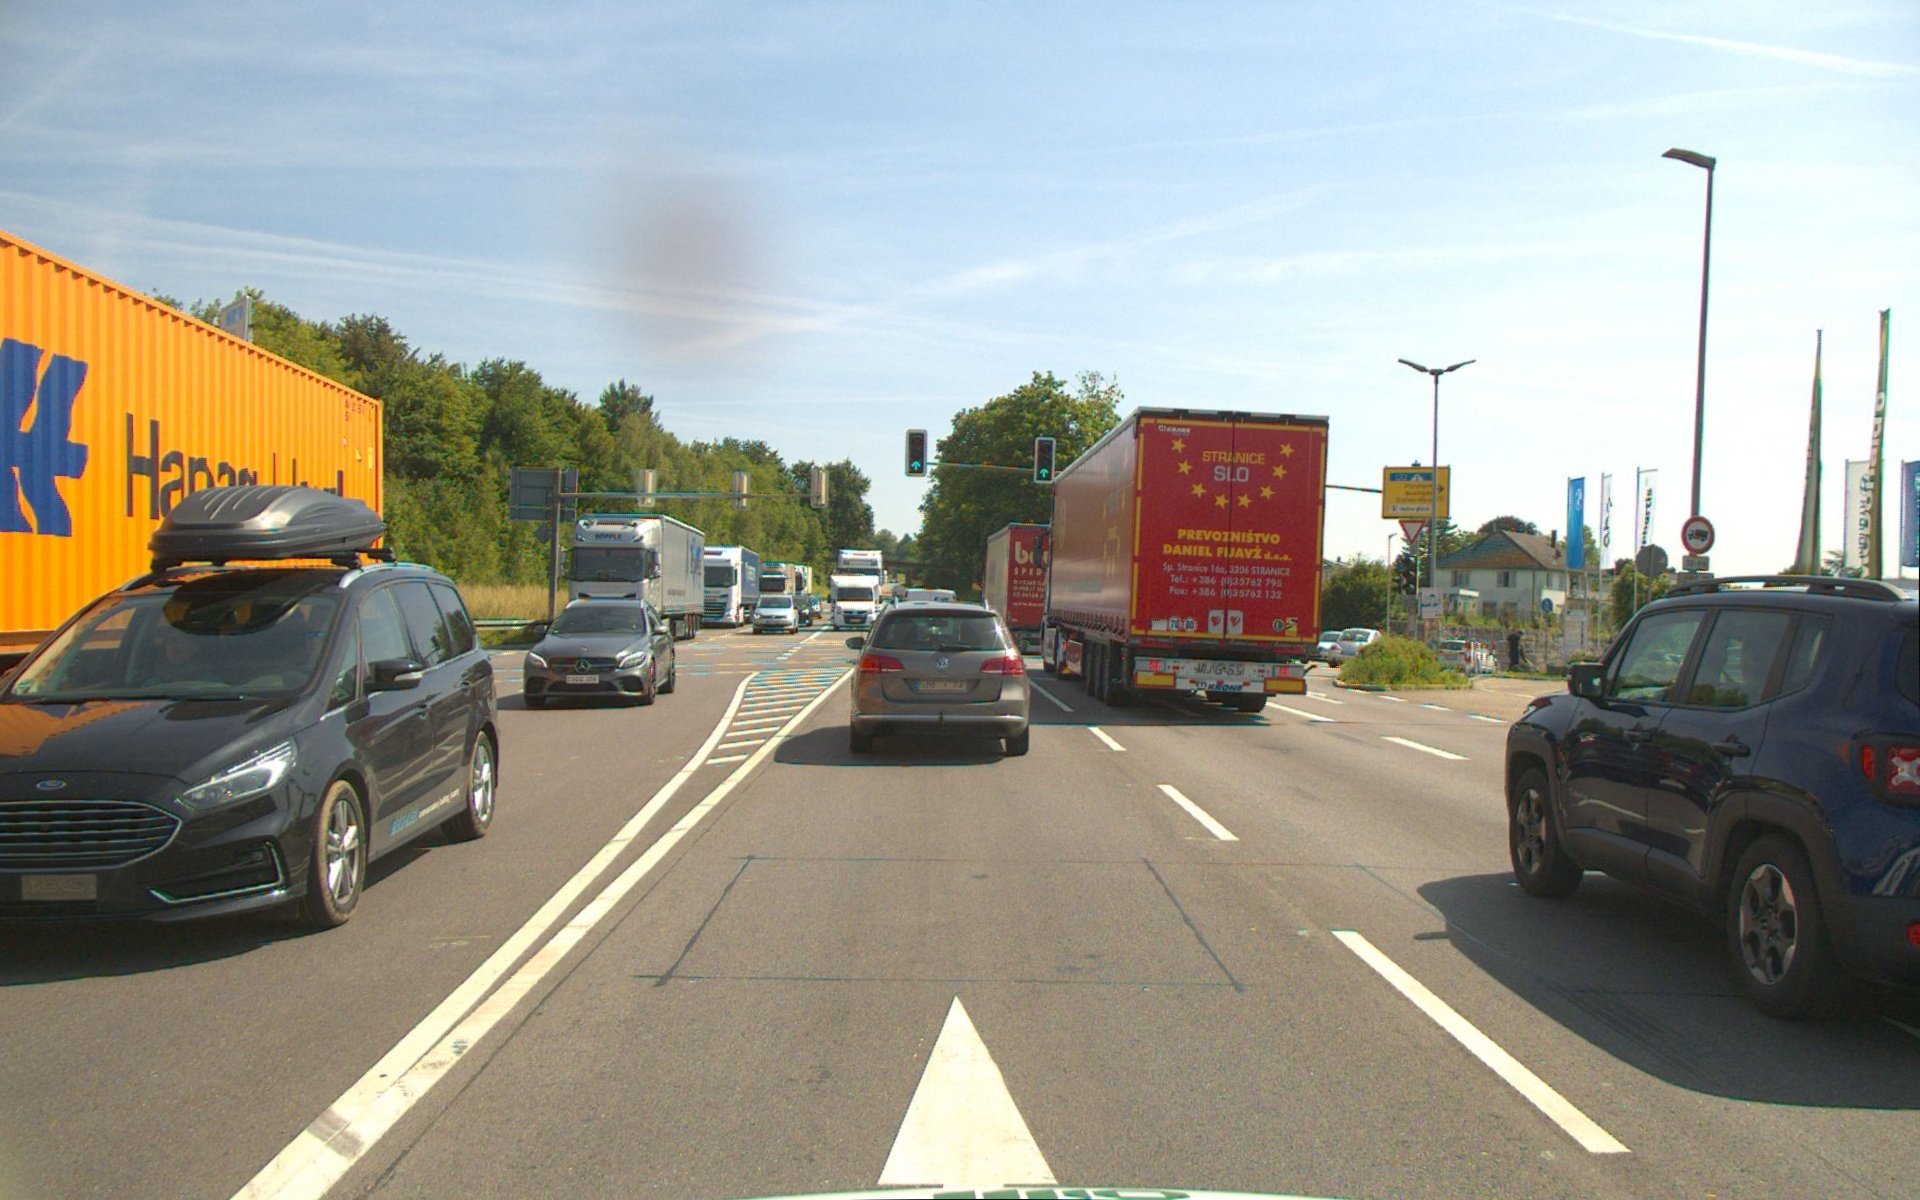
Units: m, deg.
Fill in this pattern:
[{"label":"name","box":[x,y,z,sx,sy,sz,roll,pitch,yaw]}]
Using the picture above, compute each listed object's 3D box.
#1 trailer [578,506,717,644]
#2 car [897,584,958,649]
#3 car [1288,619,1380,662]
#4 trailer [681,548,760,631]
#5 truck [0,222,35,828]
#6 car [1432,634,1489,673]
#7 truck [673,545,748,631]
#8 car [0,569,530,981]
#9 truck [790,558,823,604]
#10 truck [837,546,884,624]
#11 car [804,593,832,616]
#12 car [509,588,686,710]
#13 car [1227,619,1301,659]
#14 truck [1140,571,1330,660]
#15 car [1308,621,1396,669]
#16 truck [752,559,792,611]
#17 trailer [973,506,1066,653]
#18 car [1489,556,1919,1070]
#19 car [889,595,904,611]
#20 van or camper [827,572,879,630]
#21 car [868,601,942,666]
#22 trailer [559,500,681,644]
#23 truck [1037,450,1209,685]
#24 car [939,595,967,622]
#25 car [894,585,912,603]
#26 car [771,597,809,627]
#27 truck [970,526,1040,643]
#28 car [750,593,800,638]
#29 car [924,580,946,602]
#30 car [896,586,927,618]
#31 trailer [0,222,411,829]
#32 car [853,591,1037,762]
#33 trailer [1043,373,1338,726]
[{"label":"trailer","box":[-10.642,-0.761,57.908,2.637,4.220,13.874,1,0,-2]},{"label":"car","box":[-1.048,0.500,51.883,1.735,1.970,3.975,1,0,-4]},{"label":"car","box":[16.221,1.770,71.546,1.962,1.531,4.977,3,-1,37]},{"label":"trailer","box":[-12.923,-0.516,90.428,3.031,4.151,14.117,1,0,-3]},{"label":"truck","box":[-7.561,-0.509,8.415,2.667,4.068,6.051,1,0,-5]},{"label":"car","box":[22.412,2.386,73.995,1.741,1.602,3.703,3,0,27]},{"label":"truck","box":[-12.572,-0.589,83.801,3.124,4.151,6.341,1,0,-4]},{"label":"car","box":[-3.742,0.677,8.909,1.870,1.630,4.585,-1,1,-3]},{"label":"truck","box":[-14.375,-1.737,155.367,2.773,4.188,9.675,1,0,-4]},{"label":"truck","box":[-5.580,-0.808,92.453,2.487,4.159,6.260,1,0,-4]},{"label":"car","box":[-9.695,0.274,113.299,1.690,1.528,3.999,1,0,-2]},{"label":"car","box":[-5.335,0.656,24.918,1.883,1.630,4.585,-1,1,-3]},{"label":"car","box":[13.474,1.718,73.124,1.678,1.530,3.739,3,-2,37]},{"label":"truck","box":[14.477,0.851,87.030,9.528,3.690,2.752,6,-2,-20]},{"label":"car","box":[14.659,1.701,61.753,1.958,1.602,3.989,3,0,32]},{"label":"truck","box":[-15.344,-1.157,135.682,2.675,4.069,9.613,1,0,-3]},{"label":"trailer","box":[1.809,-0.610,55.489,2.346,4.317,13.074,1,0,-1]},{"label":"car","box":[3.905,0.708,7.439,1.734,1.683,3.999,1,0,-1]},{"label":"car","box":[-8.843,0.413,229.550,1.954,2.049,3.997,1,0,-3]},{"label":"van or camper","box":[-5.038,0.040,78.788,2.284,2.646,6.975,1,0,-2]},{"label":"car","box":[-1.432,0.806,41.471,1.735,1.539,3.997,1,0,-4]},{"label":"trailer","box":[-10.410,-0.815,51.250,2.592,4.177,6.179,1,0,-1]},{"label":"truck","box":[3.232,-0.610,34.390,2.811,4.355,5.838,2,0,0]},{"label":"car","box":[-0.547,0.654,127.969,1.954,2.049,3.997,1,0,-3]},{"label":"car","box":[-6.649,-0.706,191.562,1.954,2.049,3.997,1,0,-3]},{"label":"car","box":[-9.019,0.622,87.772,1.955,1.511,4.449,1,0,-6]},{"label":"truck","box":[1.646,-0.561,62.596,2.357,4.200,5.519,1,0,-1]},{"label":"car","box":[-7.955,0.656,71.379,1.806,1.763,4.586,2,0,-3]},{"label":"car","box":[-2.374,-0.811,156.740,1.954,2.049,3.997,1,0,-3]},{"label":"car","box":[-3.221,0.114,109.202,1.954,2.049,3.997,1,0,-3]},{"label":"trailer","box":[-8.187,-0.507,15.931,2.667,4.068,12.222,1,0,-5]},{"label":"car","box":[-0.255,0.694,16.985,1.658,1.539,3.997,1,0,-4]},{"label":"trailer","box":[3.319,-0.640,27.963,2.782,4.441,13.164,2,0,-1]}]
